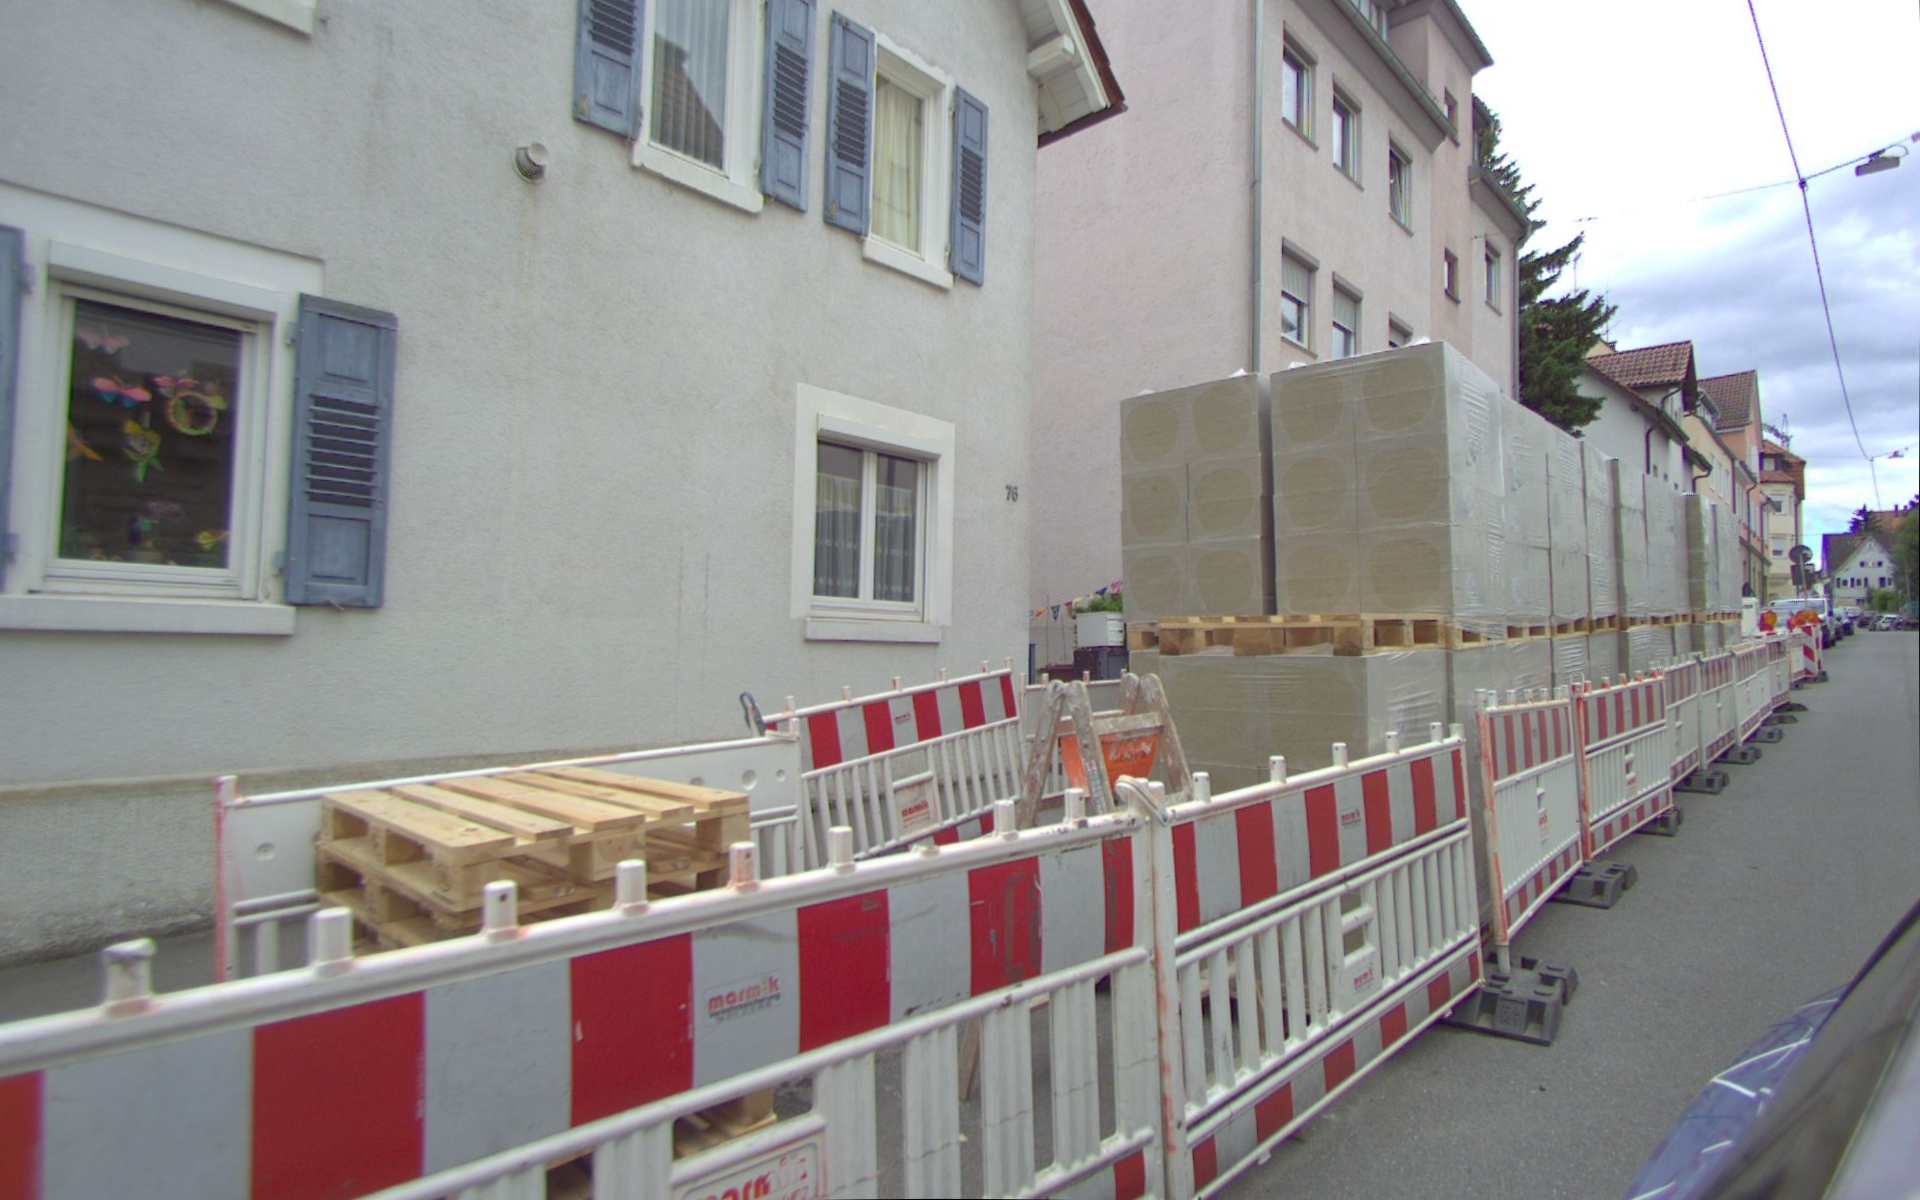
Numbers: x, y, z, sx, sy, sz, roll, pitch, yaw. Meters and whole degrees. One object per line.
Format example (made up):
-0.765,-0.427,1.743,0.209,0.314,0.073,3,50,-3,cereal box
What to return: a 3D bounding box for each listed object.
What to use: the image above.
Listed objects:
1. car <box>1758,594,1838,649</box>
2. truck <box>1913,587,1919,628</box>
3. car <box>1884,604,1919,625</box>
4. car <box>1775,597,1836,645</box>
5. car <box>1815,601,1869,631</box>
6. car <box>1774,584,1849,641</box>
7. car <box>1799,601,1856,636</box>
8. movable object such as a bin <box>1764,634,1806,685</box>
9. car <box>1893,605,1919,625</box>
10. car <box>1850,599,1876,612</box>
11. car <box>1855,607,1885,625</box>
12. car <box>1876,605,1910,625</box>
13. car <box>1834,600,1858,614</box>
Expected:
26.747,0.698,32.262,1.711,1.617,4.430,-4,-3,42,car
66.140,0.551,68.454,2.309,2.585,6.190,0,-2,42,truck
80.735,1.235,86.805,1.847,1.672,3.890,1,-1,38,car
30.333,0.752,36.292,1.485,1.617,2.748,-4,-3,42,car
45.462,0.814,52.130,1.851,1.422,4.224,-4,-3,43,car
33.638,0.521,39.905,1.904,2.056,5.643,-4,-3,43,car
41.117,0.858,47.950,1.850,1.422,4.506,-6,-4,42,car
15.099,1.083,18.522,0.356,0.904,0.401,-1,-3,-9,movable object such as a bin
73.059,1.157,77.672,1.847,1.482,3.890,1,-1,38,car
102.884,0.598,115.295,1.845,1.468,3.894,1,0,36,car
91.200,1.576,101.446,1.845,1.671,3.894,1,0,36,car
84.767,1.349,91.956,1.845,1.671,3.894,1,0,36,car
105.655,0.807,120.716,1.845,1.467,3.895,1,2,36,car
